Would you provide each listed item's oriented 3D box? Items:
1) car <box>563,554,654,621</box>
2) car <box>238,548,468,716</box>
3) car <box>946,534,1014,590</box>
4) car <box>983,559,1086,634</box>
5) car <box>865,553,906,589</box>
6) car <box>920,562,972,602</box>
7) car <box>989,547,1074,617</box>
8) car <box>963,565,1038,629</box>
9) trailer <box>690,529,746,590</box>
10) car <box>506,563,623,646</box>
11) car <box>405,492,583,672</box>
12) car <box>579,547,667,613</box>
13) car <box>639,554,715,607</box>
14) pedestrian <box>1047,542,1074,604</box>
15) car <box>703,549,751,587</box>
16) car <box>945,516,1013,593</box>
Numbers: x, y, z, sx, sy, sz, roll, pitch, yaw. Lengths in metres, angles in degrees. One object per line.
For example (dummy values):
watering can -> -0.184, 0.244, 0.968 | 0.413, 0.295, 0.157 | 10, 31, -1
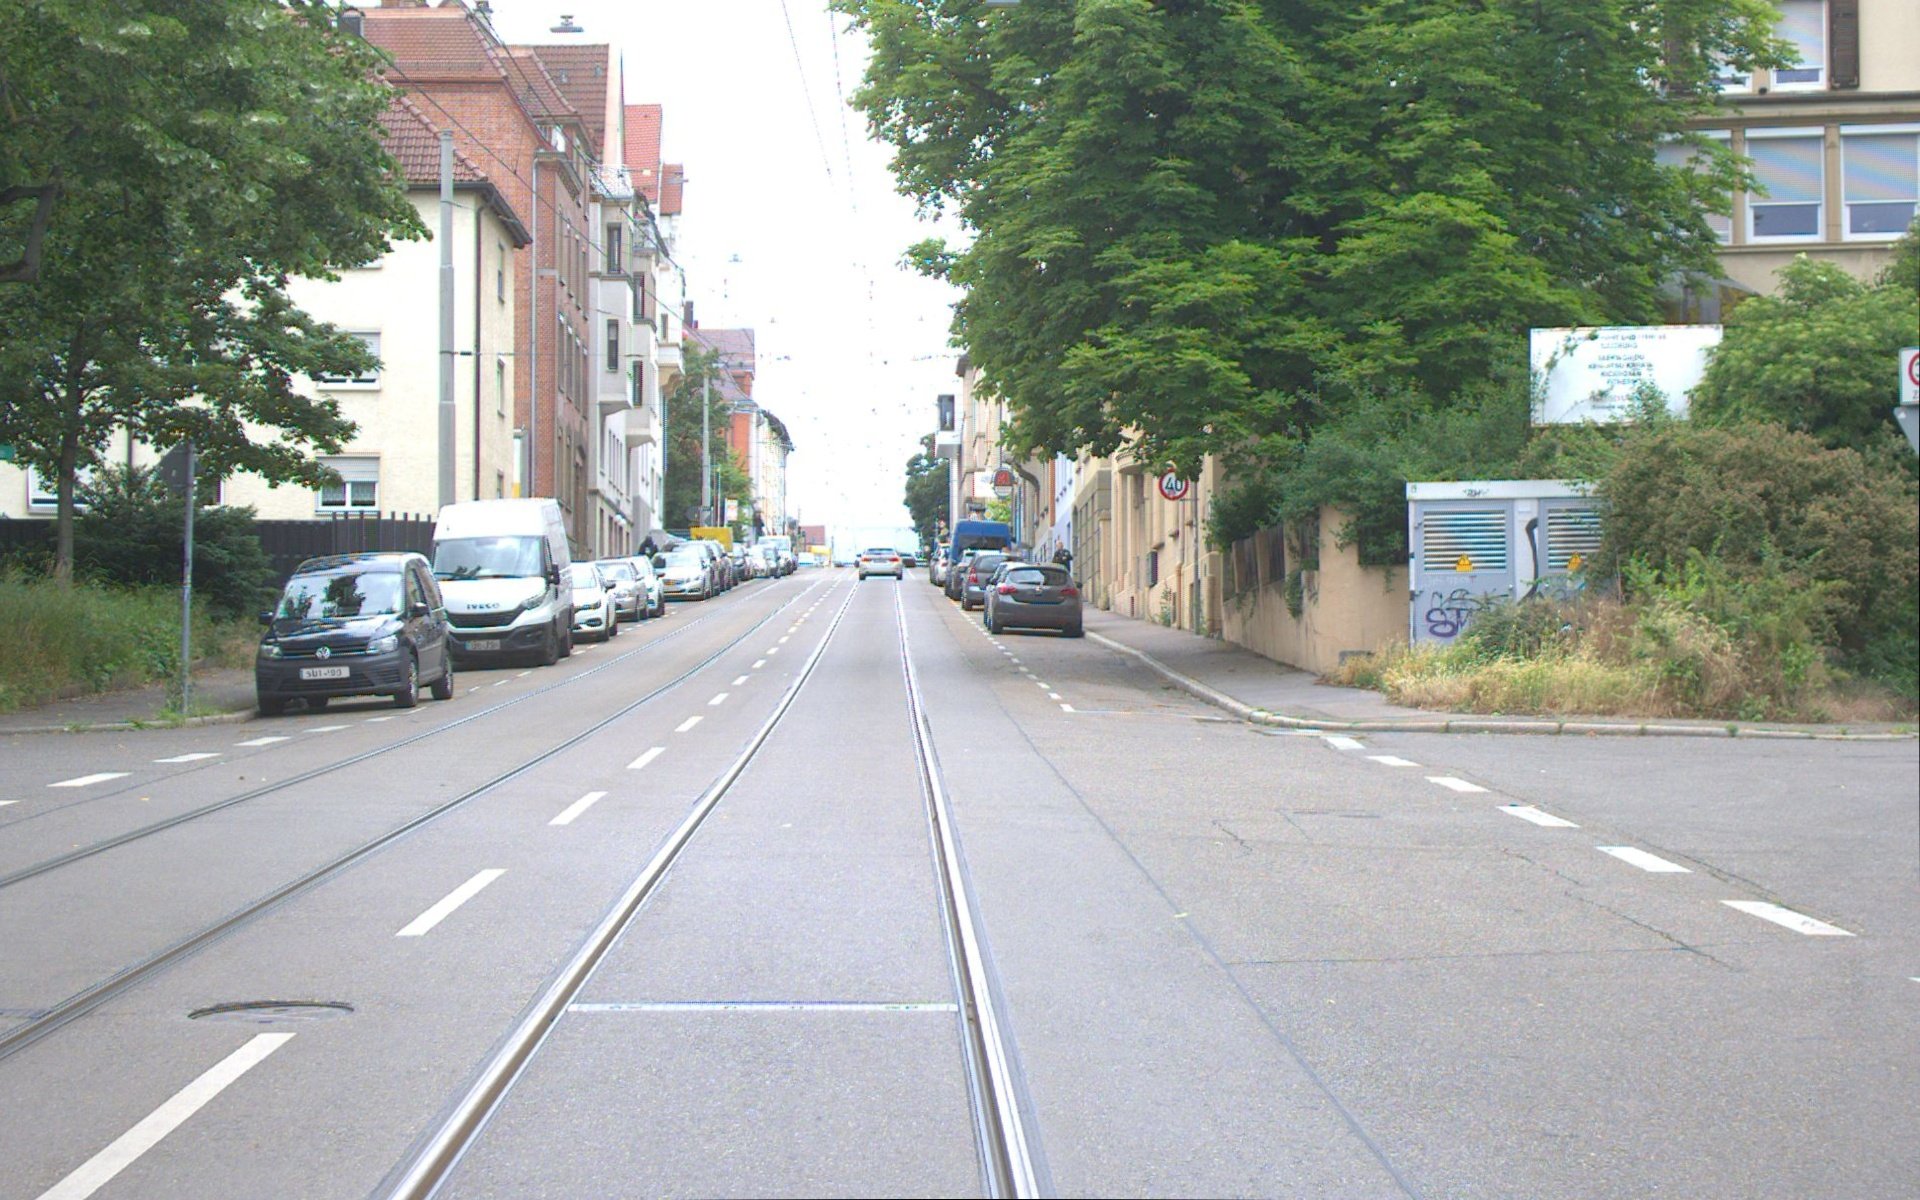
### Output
car -> -7.970, -0.303, 78.178 | 1.600, 1.363, 3.807 | -3, 1, 0
car -> -7.070, 0.332, 40.488 | 1.762, 1.769, 4.668 | -3, 1, 0
car -> 0.576, -1.123, 102.739 | 1.779, 1.525, 4.193 | 4, 1, -2
car -> 1.474, -0.084, 69.180 | 1.839, 1.398, 4.167 | 2, 0, -1
car -> -3.150, -1.226, 145.426 | 1.672, 1.508, 3.798 | 0, 1, -2
car -> -0.558, -0.692, 129.843 | 1.750, 1.386, 4.308 | 2, 1, -2
car -> 1.543, -0.414, 75.512 | 1.695, 1.399, 3.667 | 2, 1, -1
car -> 1.049, -0.101, 90.551 | 1.827, 1.514, 4.028 | 2, 1, -1
trailer -> -8.846, -1.514, 125.929 | 1.748, 2.148, 4.071 | -2, 1, -1
car -> -7.396, 0.057, 64.585 | 1.719, 1.398, 4.314 | -3, 1, -1
car -> -7.340, -0.331, 54.789 | 2.158, 2.598, 6.220 | -3, 1, -3
car -> -8.084, -0.503, 82.735 | 1.827, 1.424, 4.628 | -3, 1, -3
car -> -8.358, -0.593, 101.850 | 1.827, 1.424, 4.839 | -2, 1, -1
pedestrian -> 2.827, -0.763, 96.539 | 0.540, 1.676, 0.516 | -4, -2, -9
car -> -9.318, -1.274, 137.666 | 1.697, 1.463, 3.023 | -2, 1, -1
car -> 0.569, -1.412, 108.196 | 1.993, 2.368, 5.056 | 1, 0, -1
